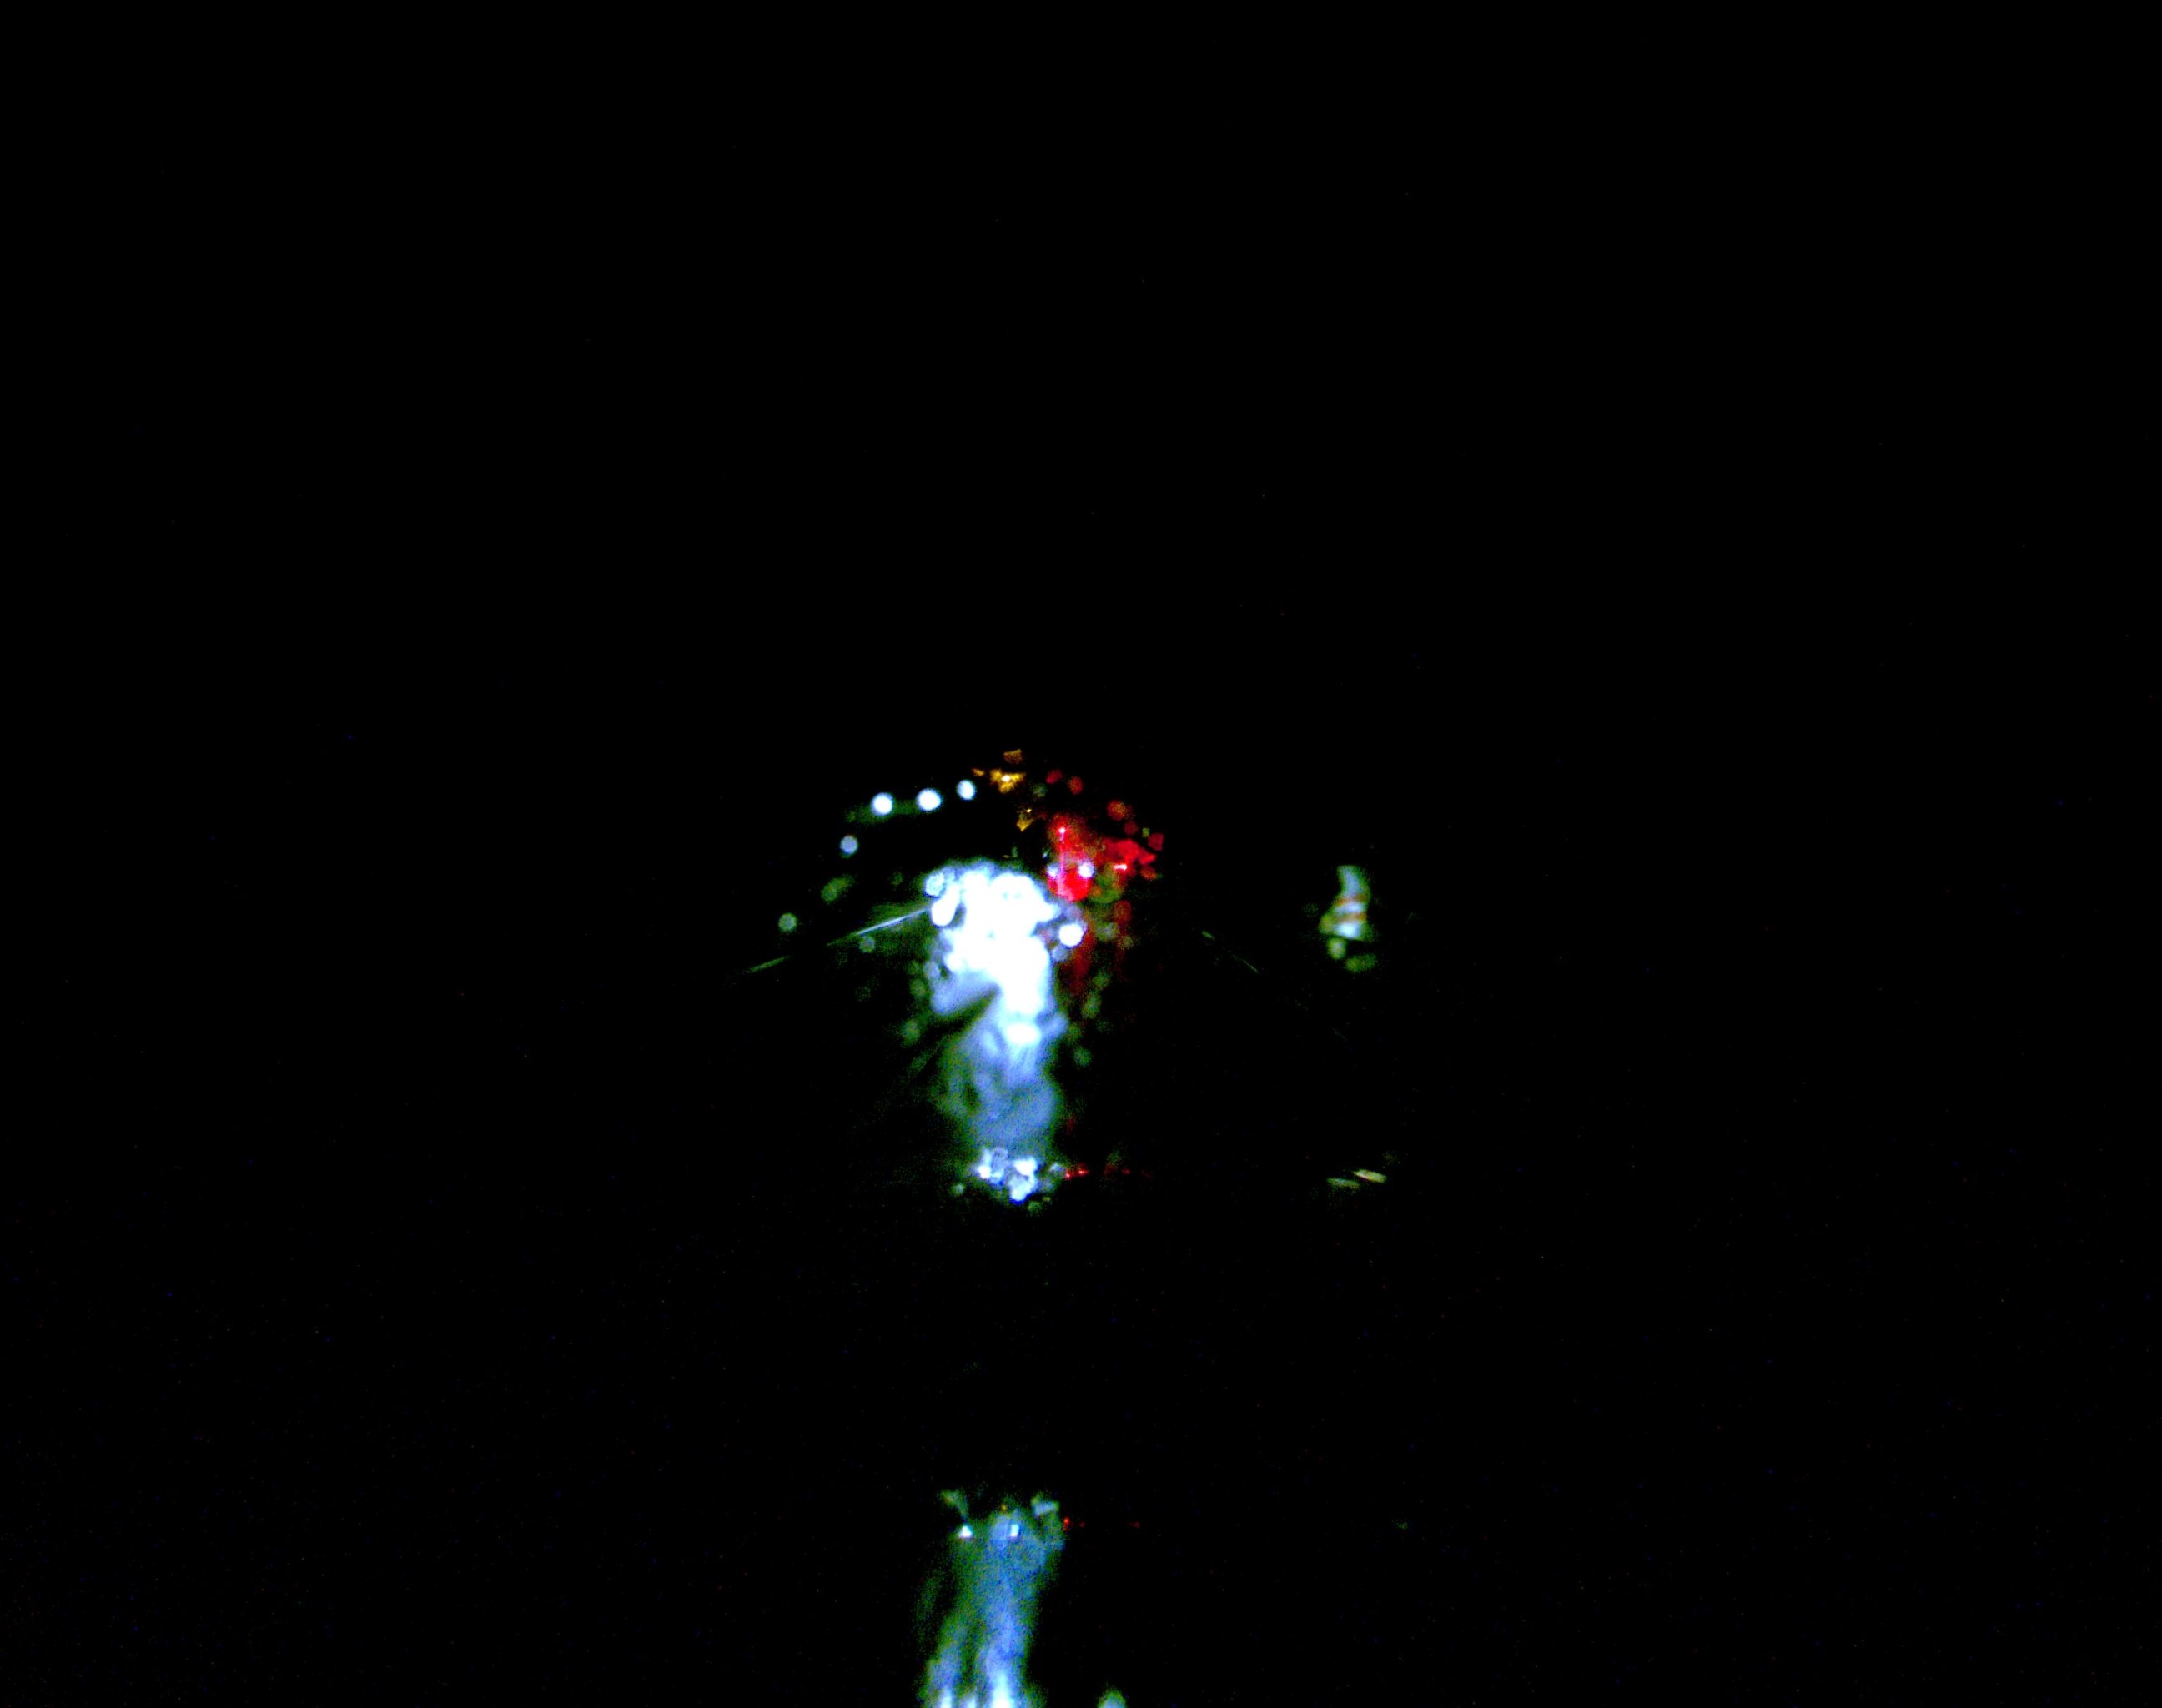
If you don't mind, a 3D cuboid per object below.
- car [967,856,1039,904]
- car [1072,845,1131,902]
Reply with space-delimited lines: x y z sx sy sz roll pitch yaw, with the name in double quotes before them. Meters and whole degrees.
"car" -2.559 0.829 27.651 1.907 1.475 4.204 0 -1 2
"car" 0.650 0.566 26.864 1.785 1.681 3.904 -1 1 0
